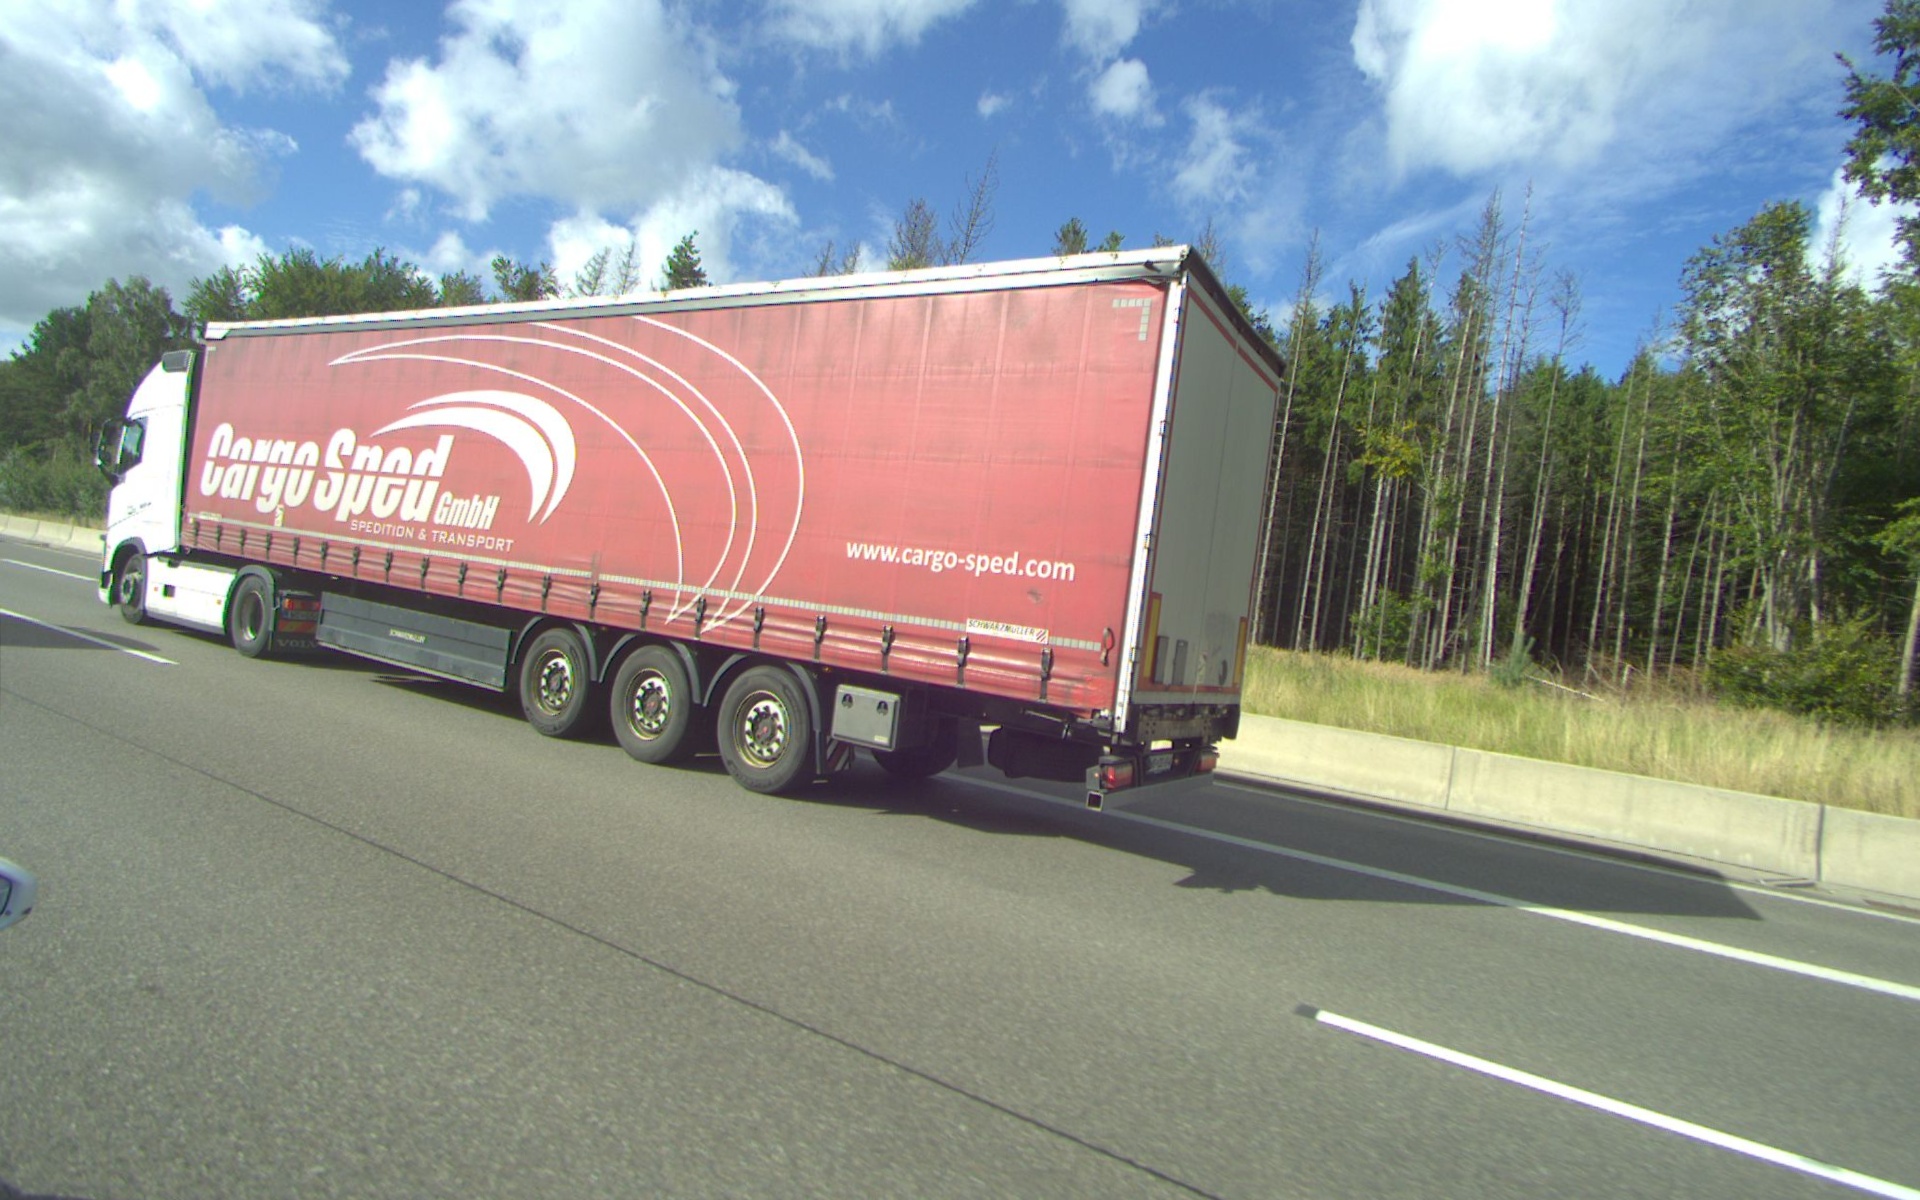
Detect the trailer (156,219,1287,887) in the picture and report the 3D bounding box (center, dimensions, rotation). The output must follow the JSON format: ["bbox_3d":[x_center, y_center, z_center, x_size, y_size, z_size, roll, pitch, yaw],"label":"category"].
[{"bbox_3d":[-3.891,-0.832,10.849,13.485,4.093,2.778,7,-1,32],"label":"trailer"}]

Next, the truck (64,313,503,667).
[{"bbox_3d":[-9.800,-1.495,14.479,5.677,4.093,2.778,7,-1,31],"label":"truck"}]

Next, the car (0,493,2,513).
[{"bbox_3d":[-12.540,-0.655,11.079,4.384,1.548,1.775,7,-1,32],"label":"car"}]
